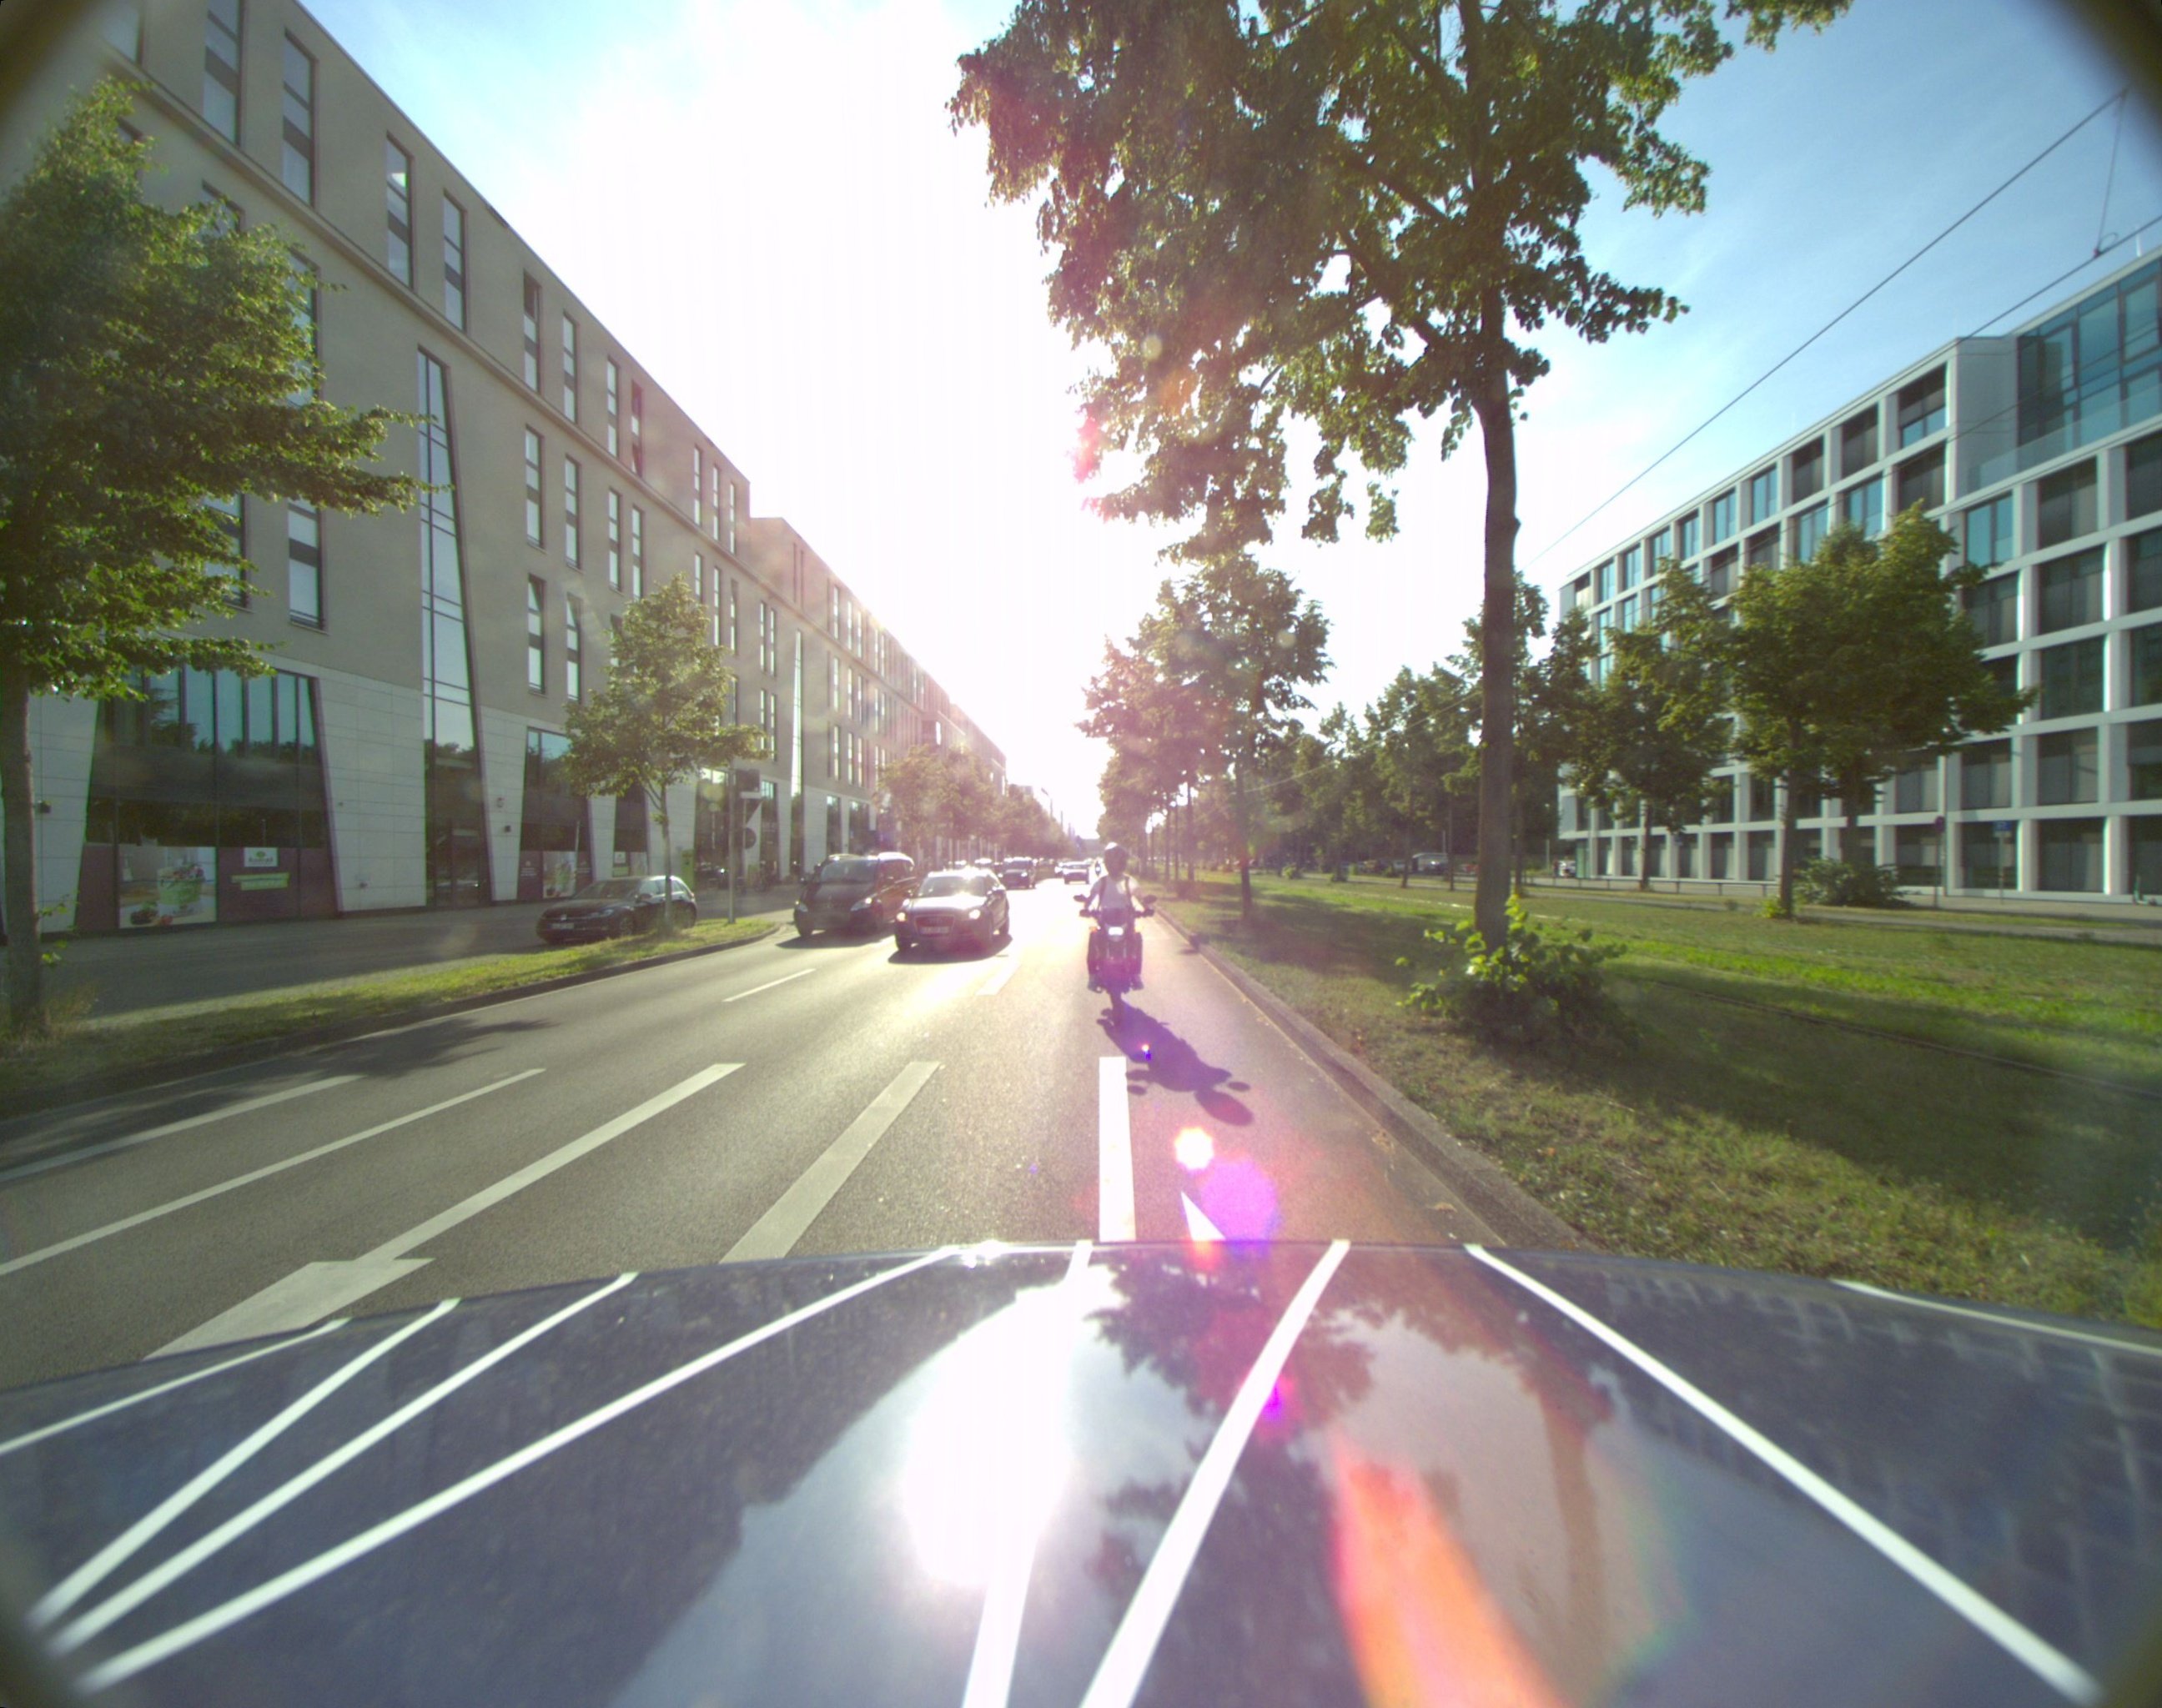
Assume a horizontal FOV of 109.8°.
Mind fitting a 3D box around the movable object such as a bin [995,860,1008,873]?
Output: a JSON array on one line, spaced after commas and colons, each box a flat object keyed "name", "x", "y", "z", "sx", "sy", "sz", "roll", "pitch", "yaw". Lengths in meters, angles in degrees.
[{"name": "movable object such as a bin", "x": -8.492, "y": 1.370, "z": 81.293, "sx": 1.280, "sy": 1.284, "sz": 1.178, "roll": -2, "pitch": 1, "yaw": -1}]

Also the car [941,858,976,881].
[{"name": "car", "x": -9.557, "y": 1.180, "z": 59.766, "sx": 1.902, "sy": 1.698, "sz": 4.678, "roll": -2, "pitch": -1, "yaw": 0}]

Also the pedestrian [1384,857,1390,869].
[{"name": "pedestrian", "x": 36.457, "y": 1.083, "z": 90.565, "sx": 0.523, "sy": 1.472, "sz": 0.568, "roll": -2, "pitch": 1, "yaw": 1}]

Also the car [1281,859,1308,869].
[{"name": "car", "x": 33.133, "y": 1.562, "z": 117.822, "sx": 1.689, "sy": 1.427, "sz": 4.027, "roll": -3, "pitch": 1, "yaw": -27}]

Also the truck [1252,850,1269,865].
[{"name": "truck", "x": 43.465, "y": 0.745, "z": 184.335, "sx": 2.894, "sy": 3.495, "sz": 7.947, "roll": -2, "pitch": 1, "yaw": 6}]

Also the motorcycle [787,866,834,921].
[{"name": "motorcycle", "x": -8.588, "y": 1.228, "z": 24.223, "sx": 0.703, "sy": 1.608, "sz": 2.011, "roll": -2, "pitch": 1, "yaw": 0}]

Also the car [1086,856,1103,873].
[{"name": "car", "x": 1.364, "y": 1.048, "z": 76.206, "sx": 1.644, "sy": 1.553, "sz": 3.734, "roll": -2, "pitch": 1, "yaw": 1}]

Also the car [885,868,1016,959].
[{"name": "car", "x": -2.449, "y": 1.077, "z": 15.306, "sx": 1.756, "sy": 1.427, "sz": 4.035, "roll": -2, "pitch": 1, "yaw": 2}]

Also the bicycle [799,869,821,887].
[{"name": "bicycle", "x": -17.094, "y": 1.512, "z": 48.043, "sx": 0.635, "sy": 1.077, "sz": 1.905, "roll": 0, "pitch": 0, "yaw": 2}]

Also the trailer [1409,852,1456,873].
[{"name": "trailer", "x": 39.017, "y": 0.942, "z": 84.421, "sx": 4.373, "sy": 2.042, "sz": 1.758, "roll": -2, "pitch": 1, "yaw": 5}]

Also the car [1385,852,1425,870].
[{"name": "car", "x": 38.463, "y": 0.824, "z": 90.333, "sx": 4.001, "sy": 1.936, "sz": 1.758, "roll": -2, "pitch": 1, "yaw": 2}]

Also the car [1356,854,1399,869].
[{"name": "car", "x": 40.206, "y": 1.011, "z": 103.122, "sx": 5.071, "sy": 1.725, "sz": 1.886, "roll": -2, "pitch": 1, "yaw": 4}]

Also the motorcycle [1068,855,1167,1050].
[{"name": "motorcycle", "x": 0.338, "y": 0.865, "z": 7.978, "sx": 0.798, "sy": 1.659, "sz": 2.634, "roll": -2, "pitch": 1, "yaw": 1}]

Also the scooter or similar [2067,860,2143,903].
[{"name": "scooter or similar", "x": 36.882, "y": 0.996, "z": 27.375, "sx": 1.933, "sy": 1.468, "sz": 0.415, "roll": -2, "pitch": 1, "yaw": 6}]

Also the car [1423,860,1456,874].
[{"name": "car", "x": 38.005, "y": 1.376, "z": 80.621, "sx": 1.683, "sy": 1.385, "sz": 3.761, "roll": -2, "pitch": 1, "yaw": -1}]

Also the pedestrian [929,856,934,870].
[{"name": "pedestrian", "x": -17.441, "y": 1.053, "z": 88.542, "sx": 0.540, "sy": 1.565, "sz": 0.514, "roll": -2, "pitch": 1, "yaw": -13}]

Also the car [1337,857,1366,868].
[{"name": "car", "x": 40.255, "y": 1.242, "z": 113.077, "sx": 3.865, "sy": 1.477, "sz": 1.745, "roll": -2, "pitch": 1, "yaw": 9}]

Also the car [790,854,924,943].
[{"name": "car", "x": -5.508, "y": 0.993, "z": 19.421, "sx": 1.803, "sy": 1.880, "sz": 4.821, "roll": -2, "pitch": 1, "yaw": 2}]

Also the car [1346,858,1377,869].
[{"name": "car", "x": 39.041, "y": 1.315, "z": 105.861, "sx": 3.655, "sy": 1.420, "sz": 1.810, "roll": -2, "pitch": 1, "yaw": 4}]

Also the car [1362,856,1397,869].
[{"name": "car", "x": 39.519, "y": 1.169, "z": 100.659, "sx": 3.996, "sy": 1.551, "sz": 1.856, "roll": -2, "pitch": 1, "yaw": 4}]

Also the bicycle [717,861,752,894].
[{"name": "bicycle", "x": -17.527, "y": 1.184, "z": 38.489, "sx": 0.557, "sy": 1.562, "sz": 2.276, "roll": -2, "pitch": 1, "yaw": 2}]

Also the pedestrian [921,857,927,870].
[{"name": "pedestrian", "x": -18.224, "y": 1.088, "z": 88.417, "sx": 0.515, "sy": 1.513, "sz": 0.597, "roll": -2, "pitch": 1, "yaw": 1}]

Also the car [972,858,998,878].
[{"name": "car", "x": -9.046, "y": 1.309, "z": 72.077, "sx": 1.832, "sy": 1.702, "sz": 4.295, "roll": -2, "pitch": 1, "yaw": 0}]

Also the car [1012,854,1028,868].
[{"name": "car", "x": -8.303, "y": 0.923, "z": 103.915, "sx": 1.842, "sy": 1.865, "sz": 5.030, "roll": -2, "pitch": 1, "yaw": -1}]

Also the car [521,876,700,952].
[{"name": "car", "x": -10.911, "y": 1.321, "z": 18.015, "sx": 1.611, "sy": 1.362, "sz": 4.157, "roll": -2, "pitch": 1, "yaw": 0}]

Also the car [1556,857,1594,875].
[{"name": "car", "x": 48.913, "y": 1.135, "z": 75.273, "sx": 1.851, "sy": 1.586, "sz": 4.003, "roll": -2, "pitch": 1, "yaw": 13}]

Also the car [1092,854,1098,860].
[{"name": "car", "x": 4.729, "y": 1.030, "z": 251.737, "sx": 1.998, "sy": 1.736, "sz": 4.000, "roll": -2, "pitch": 1, "yaw": 1}]

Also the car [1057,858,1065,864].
[{"name": "car", "x": -5.528, "y": 1.842, "z": 211.968, "sx": 1.840, "sy": 1.521, "sz": 4.328, "roll": -2, "pitch": 1, "yaw": 2}]

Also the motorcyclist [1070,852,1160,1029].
[{"name": "motorcyclist", "x": 0.338, "y": 0.843, "z": 7.813, "sx": 0.814, "sy": 1.699, "sz": 0.843, "roll": -2, "pitch": 1, "yaw": 1}]

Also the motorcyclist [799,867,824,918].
[{"name": "motorcyclist", "x": -8.590, "y": 1.219, "z": 24.205, "sx": 0.625, "sy": 1.631, "sz": 0.417, "roll": 0, "pitch": 1, "yaw": -2}]

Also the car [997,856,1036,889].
[{"name": "car", "x": -3.997, "y": 1.094, "z": 48.016, "sx": 1.864, "sy": 1.856, "sz": 4.778, "roll": -2, "pitch": 1, "yaw": 1}]

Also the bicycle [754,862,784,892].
[{"name": "bicycle", "x": -17.201, "y": 1.241, "z": 41.918, "sx": 0.557, "sy": 1.558, "sz": 2.212, "roll": -2, "pitch": 1, "yaw": 2}]

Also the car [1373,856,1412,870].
[{"name": "car", "x": 38.339, "y": 1.103, "z": 93.496, "sx": 4.001, "sy": 1.633, "sz": 1.758, "roll": -2, "pitch": 1, "yaw": 2}]

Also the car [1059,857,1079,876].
[{"name": "car", "x": -1.208, "y": 1.260, "z": 76.885, "sx": 1.777, "sy": 1.805, "sz": 4.000, "roll": -2, "pitch": 1, "yaw": 1}]

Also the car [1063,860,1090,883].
[{"name": "car", "x": -0.311, "y": 1.235, "z": 54.498, "sx": 1.739, "sy": 1.499, "sz": 4.000, "roll": -2, "pitch": 1, "yaw": 1}]

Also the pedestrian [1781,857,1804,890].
[{"name": "pedestrian", "x": 37.464, "y": 1.026, "z": 40.010, "sx": 0.569, "sy": 1.718, "sz": 0.691, "roll": -2, "pitch": 1, "yaw": 2}]

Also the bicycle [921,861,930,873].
[{"name": "bicycle", "x": -15.875, "y": 1.334, "z": 77.653, "sx": 0.493, "sy": 1.109, "sz": 1.945, "roll": 0, "pitch": 1, "yaw": 2}]

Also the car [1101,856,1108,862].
[{"name": "car", "x": 7.265, "y": 1.401, "z": 235.757, "sx": 1.998, "sy": 1.736, "sz": 4.000, "roll": -2, "pitch": 1, "yaw": 1}]

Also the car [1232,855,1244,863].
[{"name": "car", "x": 31.469, "y": 0.970, "z": 152.391, "sx": 1.834, "sy": 1.423, "sz": 4.475, "roll": -2, "pitch": 1, "yaw": 3}]
